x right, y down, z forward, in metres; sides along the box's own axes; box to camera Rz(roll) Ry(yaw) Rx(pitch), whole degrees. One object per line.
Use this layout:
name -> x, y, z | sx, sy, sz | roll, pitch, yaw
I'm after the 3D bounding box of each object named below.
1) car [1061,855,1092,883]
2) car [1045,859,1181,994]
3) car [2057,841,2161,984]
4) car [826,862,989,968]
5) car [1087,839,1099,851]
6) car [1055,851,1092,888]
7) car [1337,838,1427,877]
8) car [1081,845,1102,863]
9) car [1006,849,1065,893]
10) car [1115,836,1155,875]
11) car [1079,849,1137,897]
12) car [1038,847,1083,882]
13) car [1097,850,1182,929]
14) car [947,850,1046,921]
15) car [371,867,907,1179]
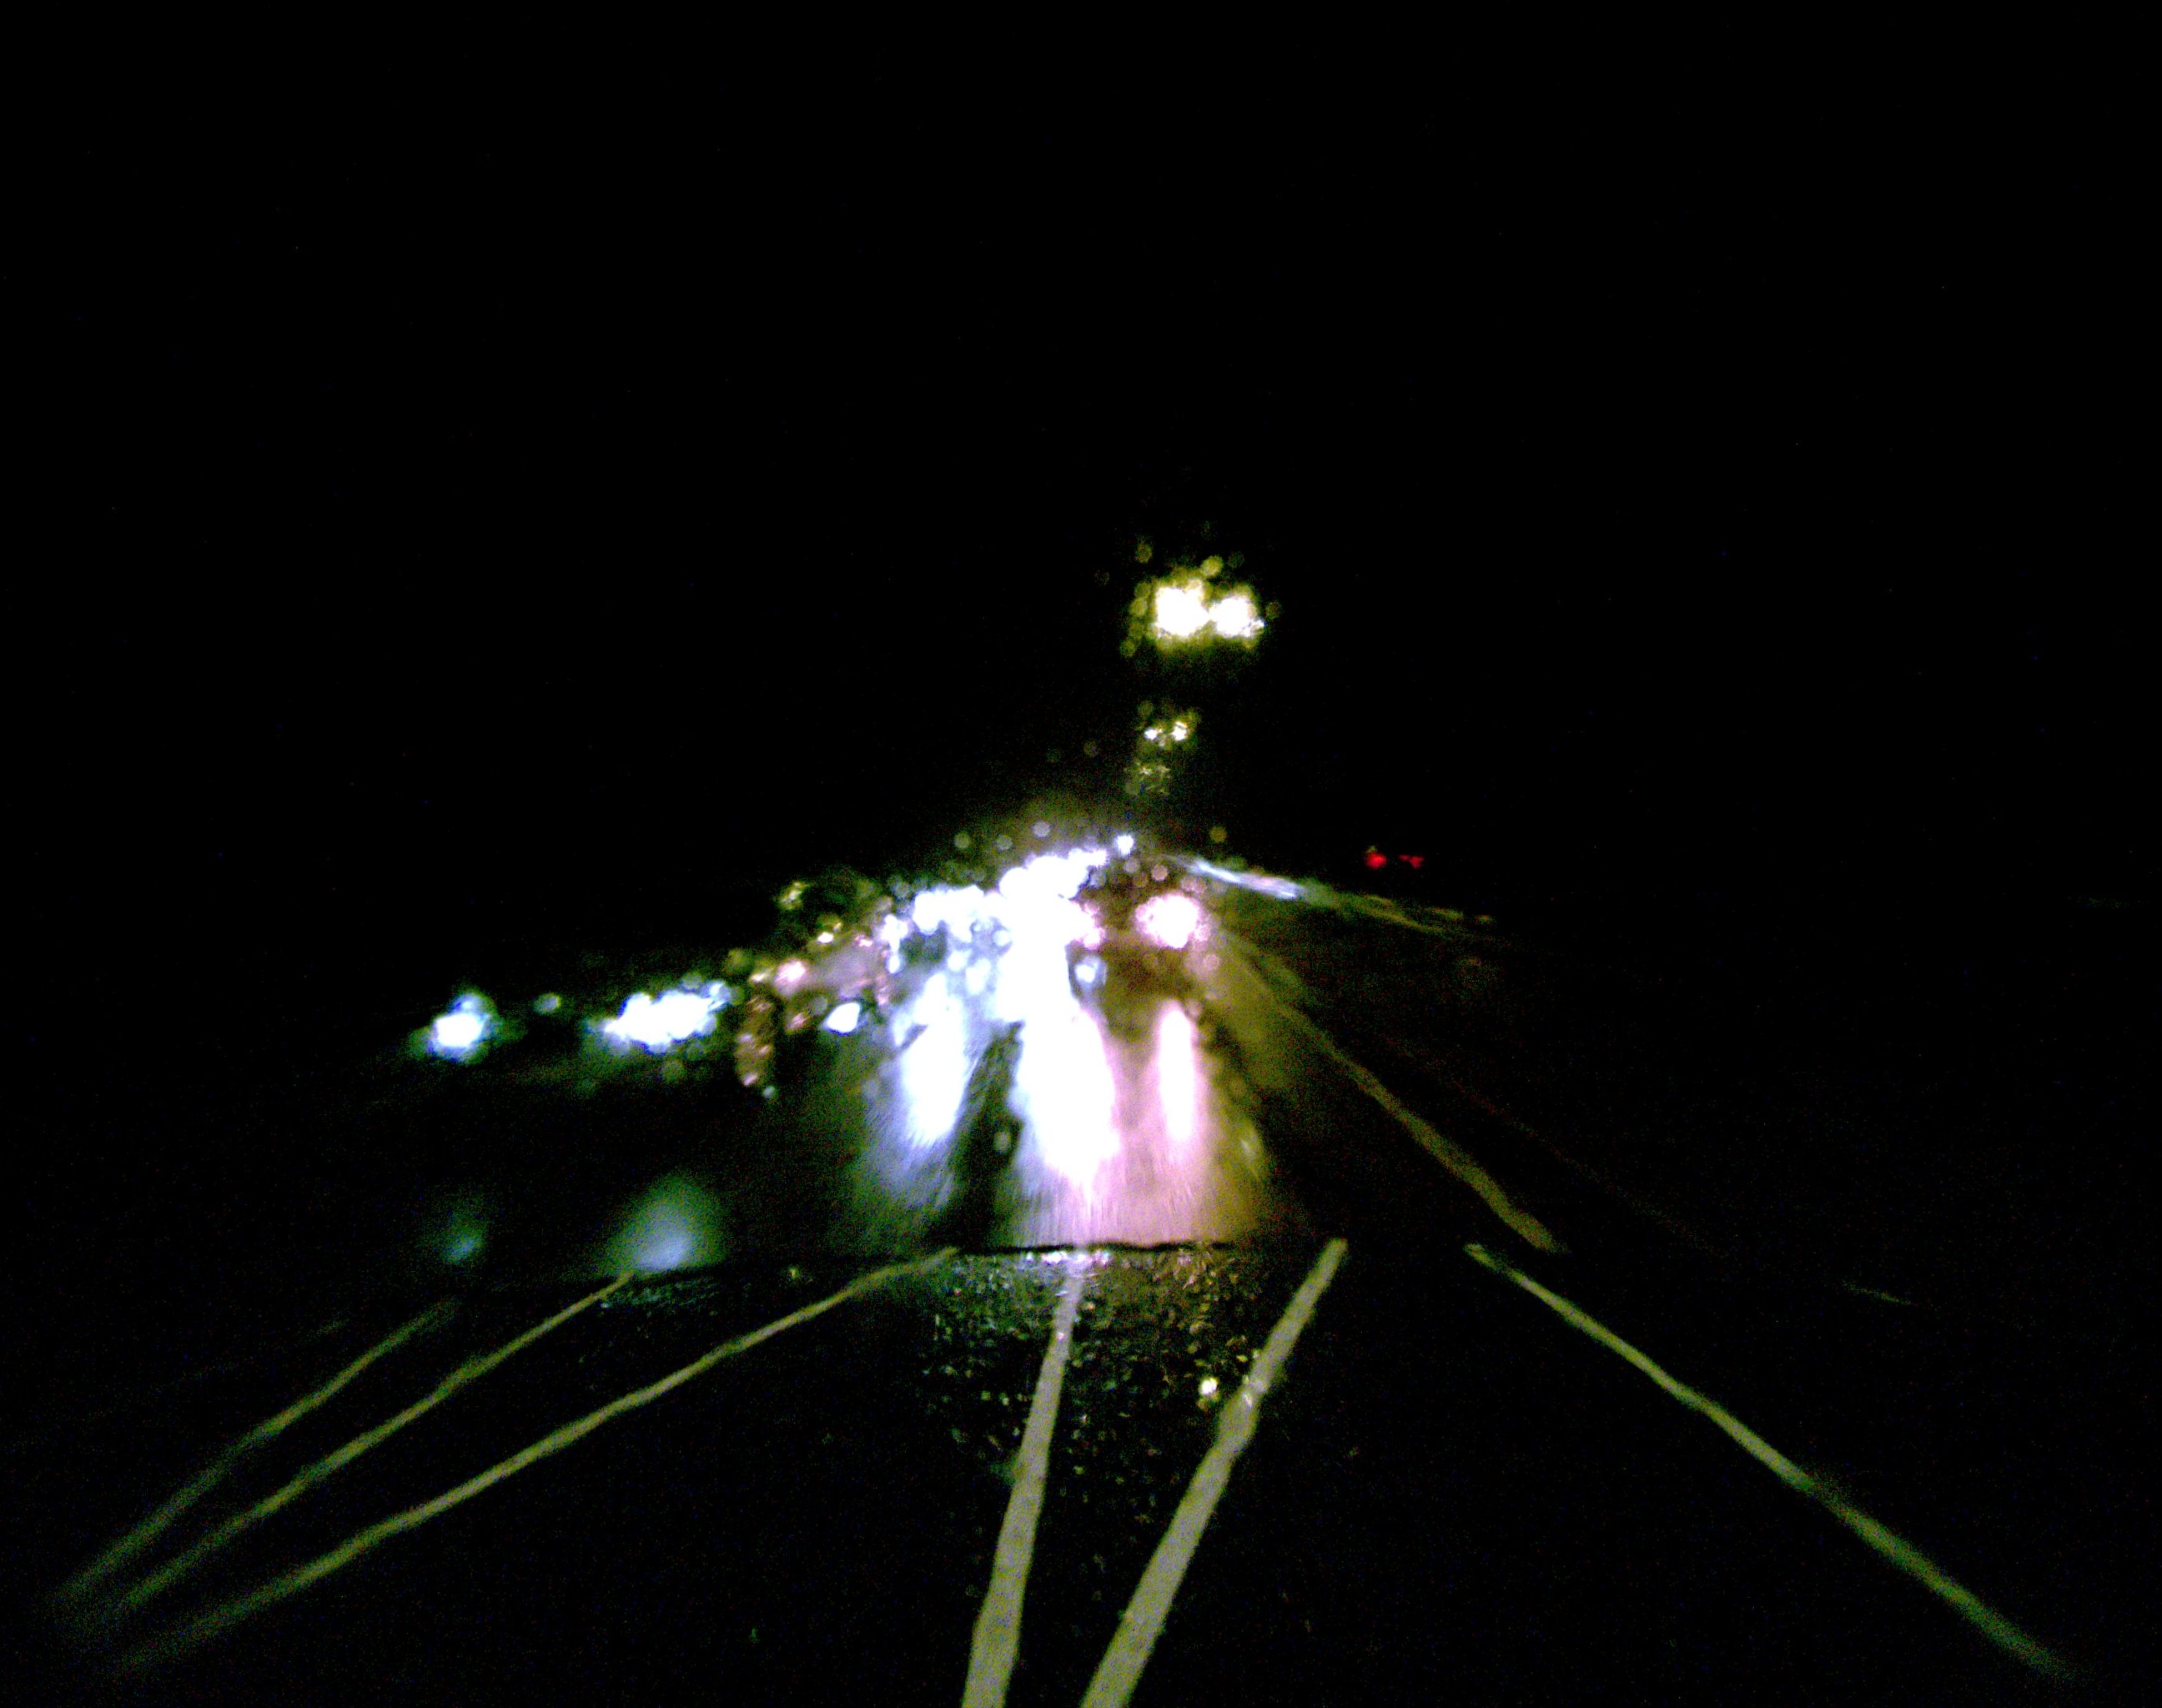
car -> -0.275, 1.046, 53.480 | 1.998, 1.789, 4.000 | -1, 1, 2
car -> 0.409, 0.826, 10.186 | 1.497, 1.416, 3.389 | -1, 1, 2
car -> 11.557, 0.597, 5.999 | 1.716, 1.415, 4.666 | -1, 1, 0
car -> -2.880, 0.949, 13.585 | 1.742, 1.409, 4.139 | -2, 1, 3
car -> 2.157, -1.596, 136.210 | 1.998, 2.002, 3.999 | -1, 1, 1
car -> -0.390, 0.873, 45.825 | 1.998, 2.002, 3.999 | -2, 1, 2
car -> 12.666, 0.118, 32.317 | 1.998, 1.499, 4.839 | -1, 1, 1
car -> 1.023, -0.047, 72.620 | 1.869, 1.654, 4.000 | -1, 1, 3
car -> -1.787, 0.630, 31.306 | 1.998, 1.589, 4.391 | -1, 1, 2
car -> 3.008, 0.052, 42.800 | 1.998, 2.002, 3.999 | -2, 1, 2
car -> 0.940, 0.612, 26.833 | 1.838, 1.417, 3.698 | -4, 1, 2
car -> -0.968, 0.473, 38.646 | 1.998, 1.589, 4.391 | -1, 1, 2
car -> 1.218, 0.715, 16.944 | 1.606, 1.417, 3.389 | -4, 1, 2
car -> -2.130, 0.746, 20.319 | 1.998, 1.589, 4.391 | -1, 1, 2
car -> -2.944, 0.980, 6.393 | 1.711, 1.513, 4.414 | -2, 1, 2
